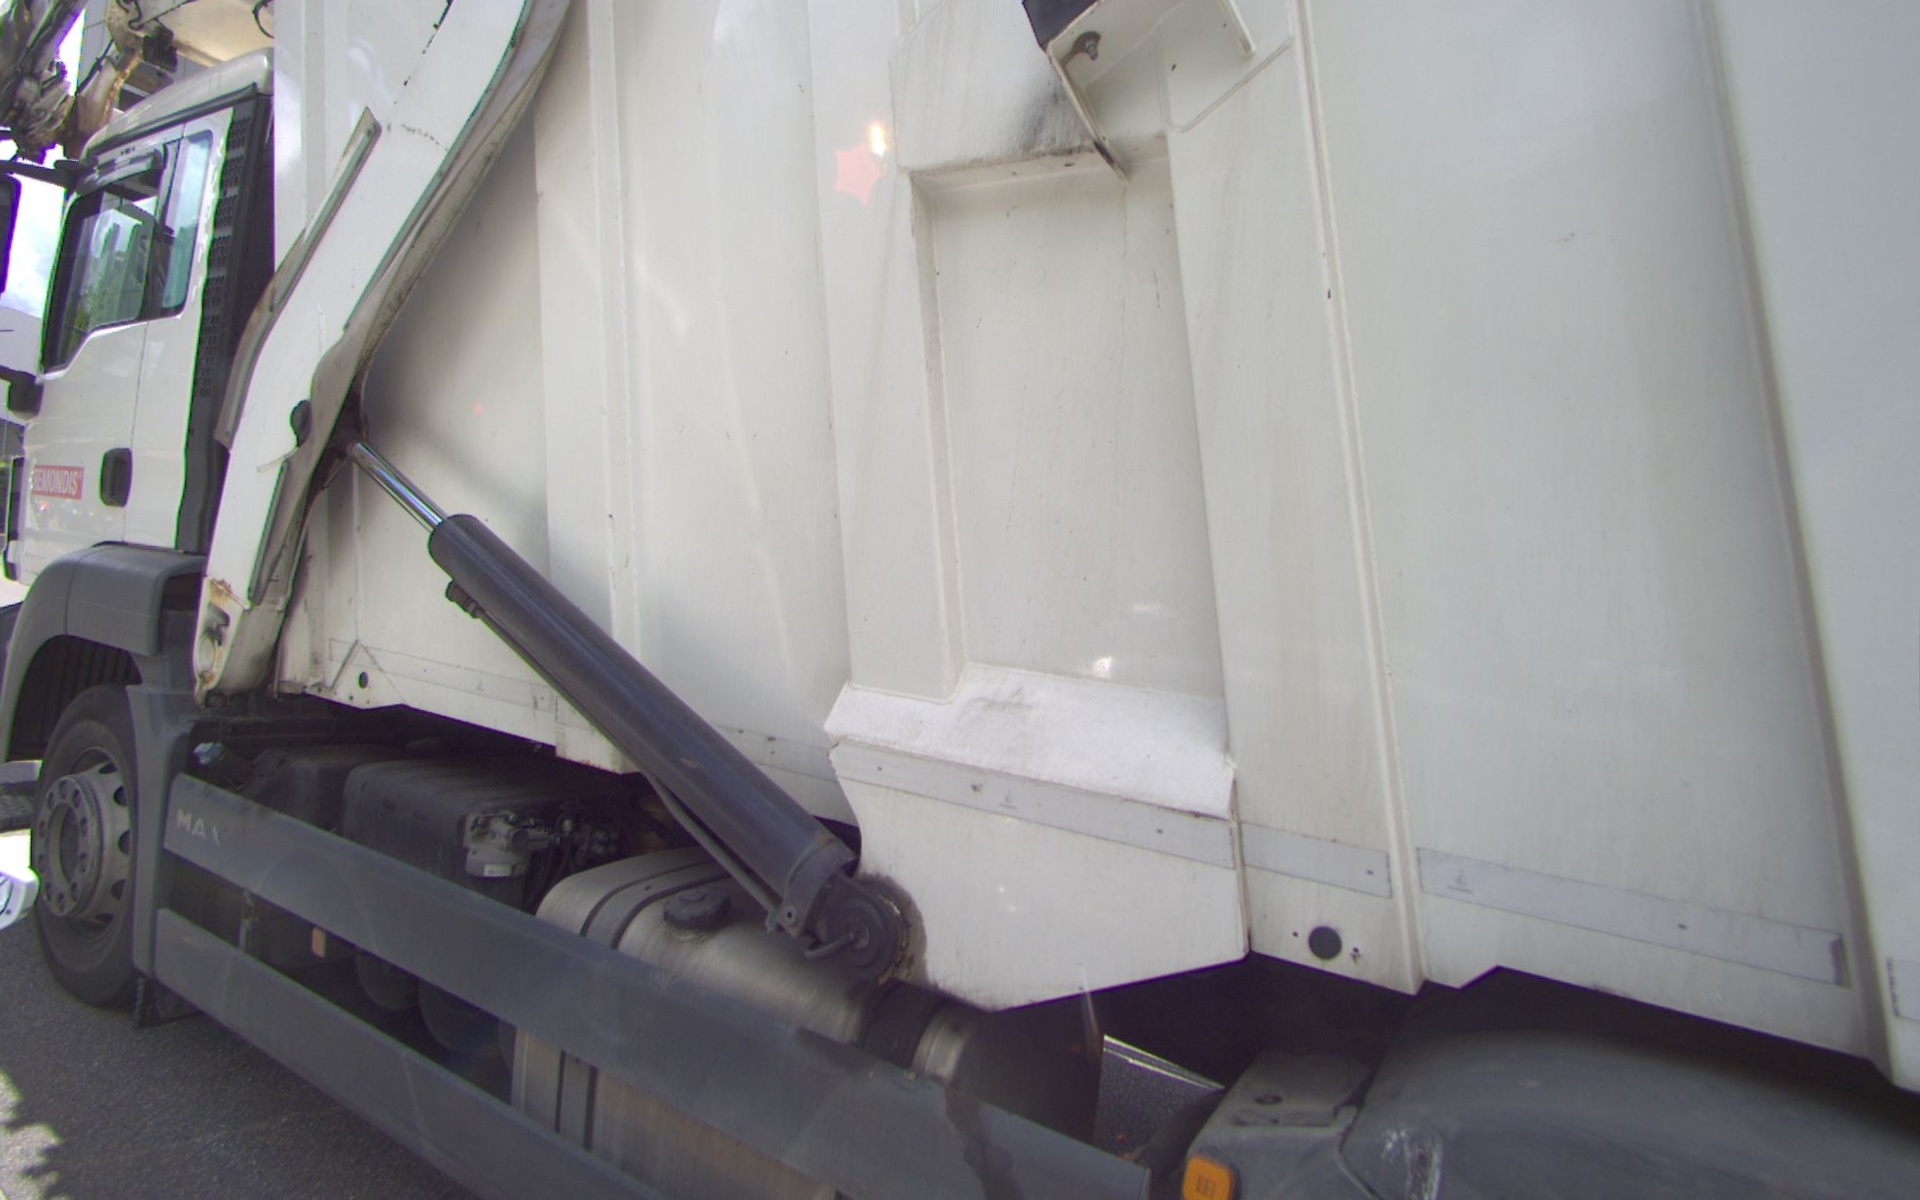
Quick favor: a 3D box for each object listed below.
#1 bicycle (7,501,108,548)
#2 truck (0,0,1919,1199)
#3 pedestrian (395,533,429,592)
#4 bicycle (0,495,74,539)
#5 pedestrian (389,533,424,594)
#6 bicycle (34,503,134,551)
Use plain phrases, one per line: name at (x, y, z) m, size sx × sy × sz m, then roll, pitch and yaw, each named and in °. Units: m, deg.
bicycle at (-27.956, -2.325, 31.205) m, size 2.197 × 1.099 × 0.474 m, roll 8°, pitch -1°, yaw -23°
truck at (1.112, -0.325, 2.177) m, size 10.003 × 3.958 × 2.494 m, roll 6°, pitch -1°, yaw 31°
pedestrian at (-17.752, -1.201, 32.568) m, size 0.707 × 1.818 × 0.685 m, roll 3°, pitch 4°, yaw -44°
bicycle at (-29.291, -2.631, 31.490) m, size 2.197 × 1.099 × 0.474 m, roll 8°, pitch -1°, yaw -23°
pedestrian at (-17.494, -1.156, 31.817) m, size 0.634 × 1.818 × 0.707 m, roll 9°, pitch 4°, yaw 44°
bicycle at (-26.991, -2.229, 31.032) m, size 2.166 × 1.099 × 0.474 m, roll 8°, pitch -1°, yaw -23°
